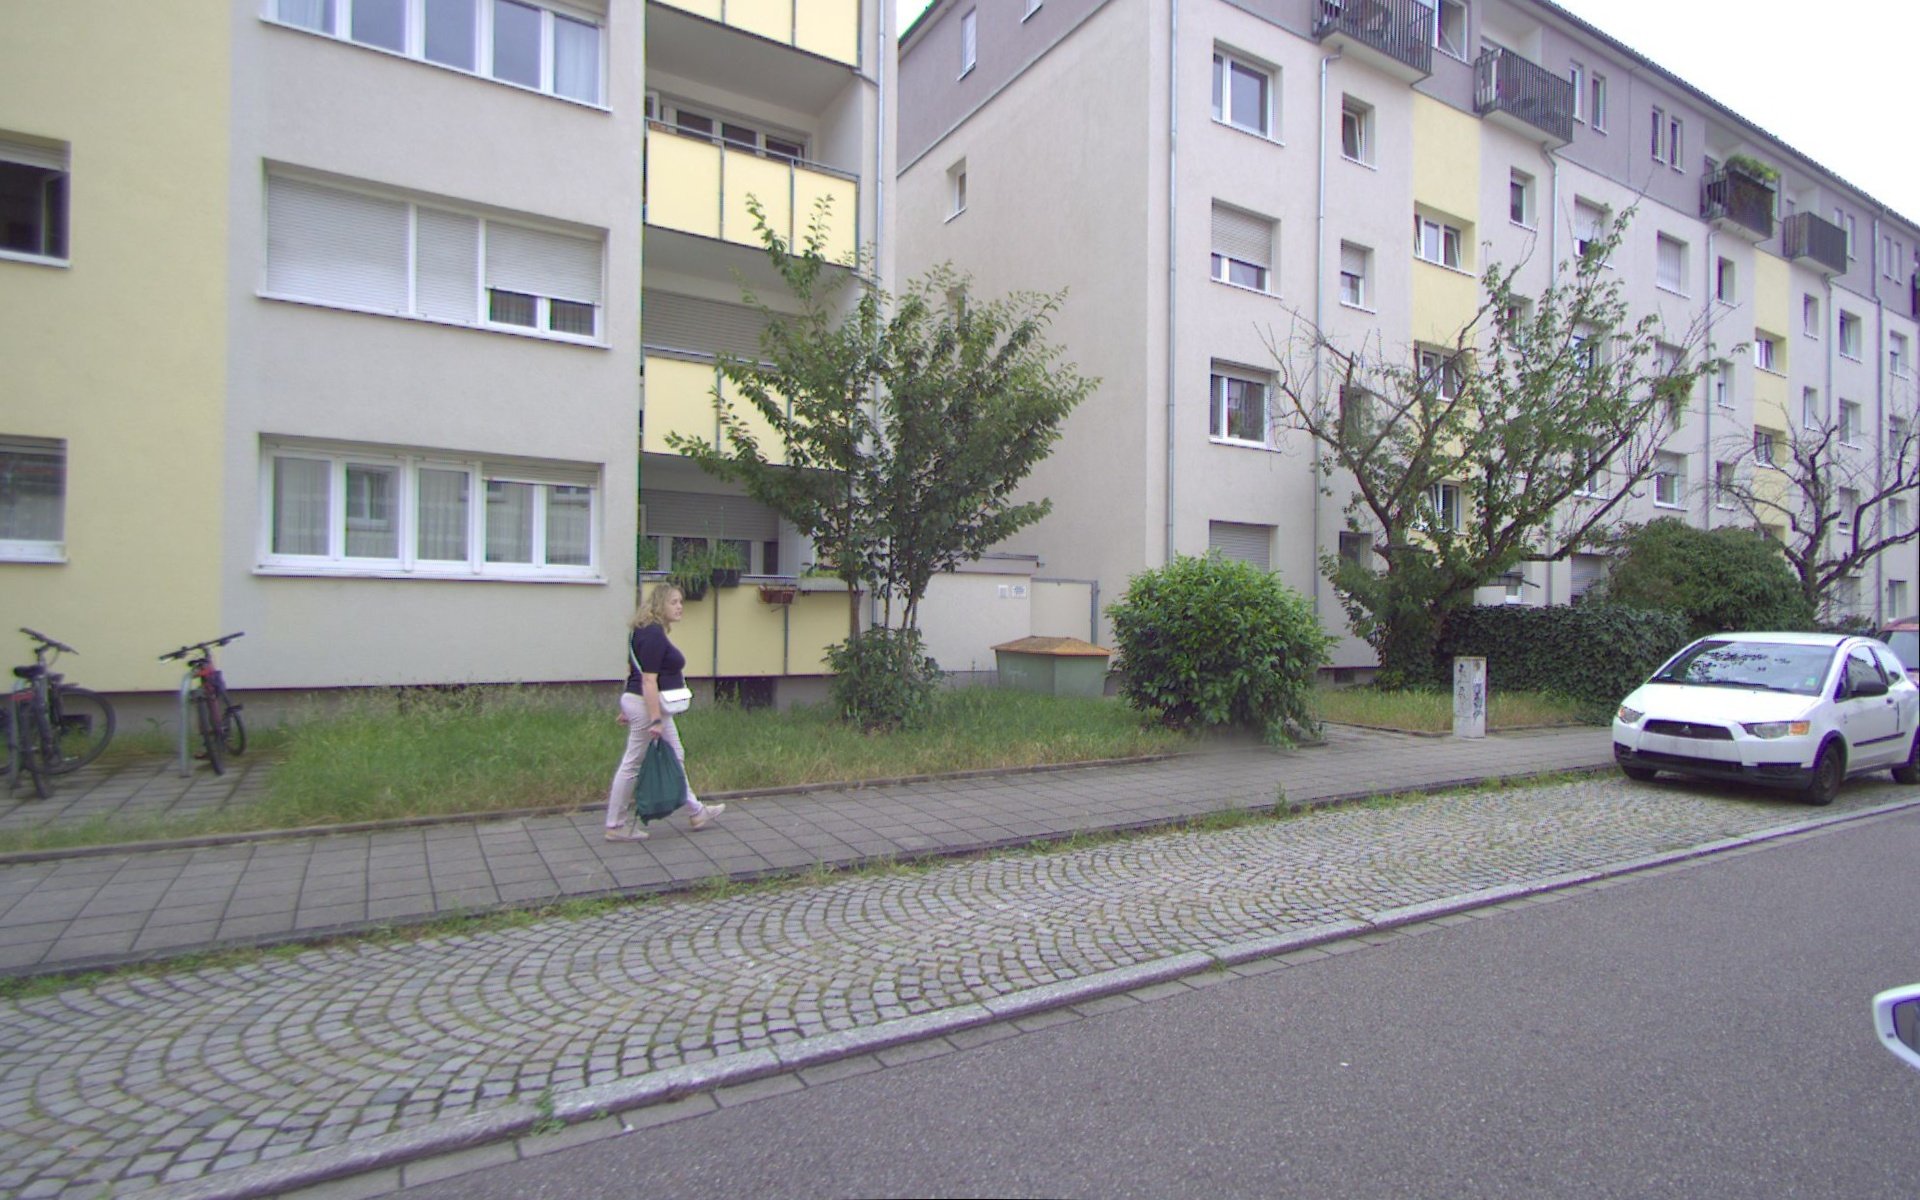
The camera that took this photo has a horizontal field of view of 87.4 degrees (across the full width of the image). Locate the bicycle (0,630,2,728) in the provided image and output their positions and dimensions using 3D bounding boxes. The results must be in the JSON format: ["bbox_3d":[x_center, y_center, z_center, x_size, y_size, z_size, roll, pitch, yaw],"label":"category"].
[{"bbox_3d":[-7.305,0.810,7.098,0.618,1.156,2.006,1,-1,-40],"label":"bicycle"}]

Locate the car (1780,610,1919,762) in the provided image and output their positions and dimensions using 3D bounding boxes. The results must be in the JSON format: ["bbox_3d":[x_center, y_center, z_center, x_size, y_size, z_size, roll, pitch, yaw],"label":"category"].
[{"bbox_3d":[13.022,1.073,13.468,4.315,1.794,1.945,1,0,-33],"label":"car"}]

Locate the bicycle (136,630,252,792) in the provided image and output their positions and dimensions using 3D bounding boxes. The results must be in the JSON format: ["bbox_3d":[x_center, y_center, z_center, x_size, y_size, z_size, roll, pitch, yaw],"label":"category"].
[{"bbox_3d":[-6.368,0.850,8.431,0.617,1.156,2.010,1,-1,-33],"label":"bicycle"}]

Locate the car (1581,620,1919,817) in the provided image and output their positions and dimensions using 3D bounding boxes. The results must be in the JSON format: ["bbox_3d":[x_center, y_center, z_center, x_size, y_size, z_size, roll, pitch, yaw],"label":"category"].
[{"bbox_3d":[8.241,1.056,10.212,3.826,1.591,1.711,1,1,-31],"label":"car"}]

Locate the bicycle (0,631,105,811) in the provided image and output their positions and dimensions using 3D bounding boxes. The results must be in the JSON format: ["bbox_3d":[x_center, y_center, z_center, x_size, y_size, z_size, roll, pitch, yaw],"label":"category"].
[{"bbox_3d":[-6.842,0.827,7.526,0.618,1.156,2.006,1,-1,-40],"label":"bicycle"}]

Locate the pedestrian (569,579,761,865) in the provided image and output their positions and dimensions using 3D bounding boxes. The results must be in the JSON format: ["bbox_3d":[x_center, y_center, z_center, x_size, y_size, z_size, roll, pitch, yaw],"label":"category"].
[{"bbox_3d":[-1.862,0.707,6.325,0.937,1.631,0.794,1,-1,-35],"label":"pedestrian"}]
